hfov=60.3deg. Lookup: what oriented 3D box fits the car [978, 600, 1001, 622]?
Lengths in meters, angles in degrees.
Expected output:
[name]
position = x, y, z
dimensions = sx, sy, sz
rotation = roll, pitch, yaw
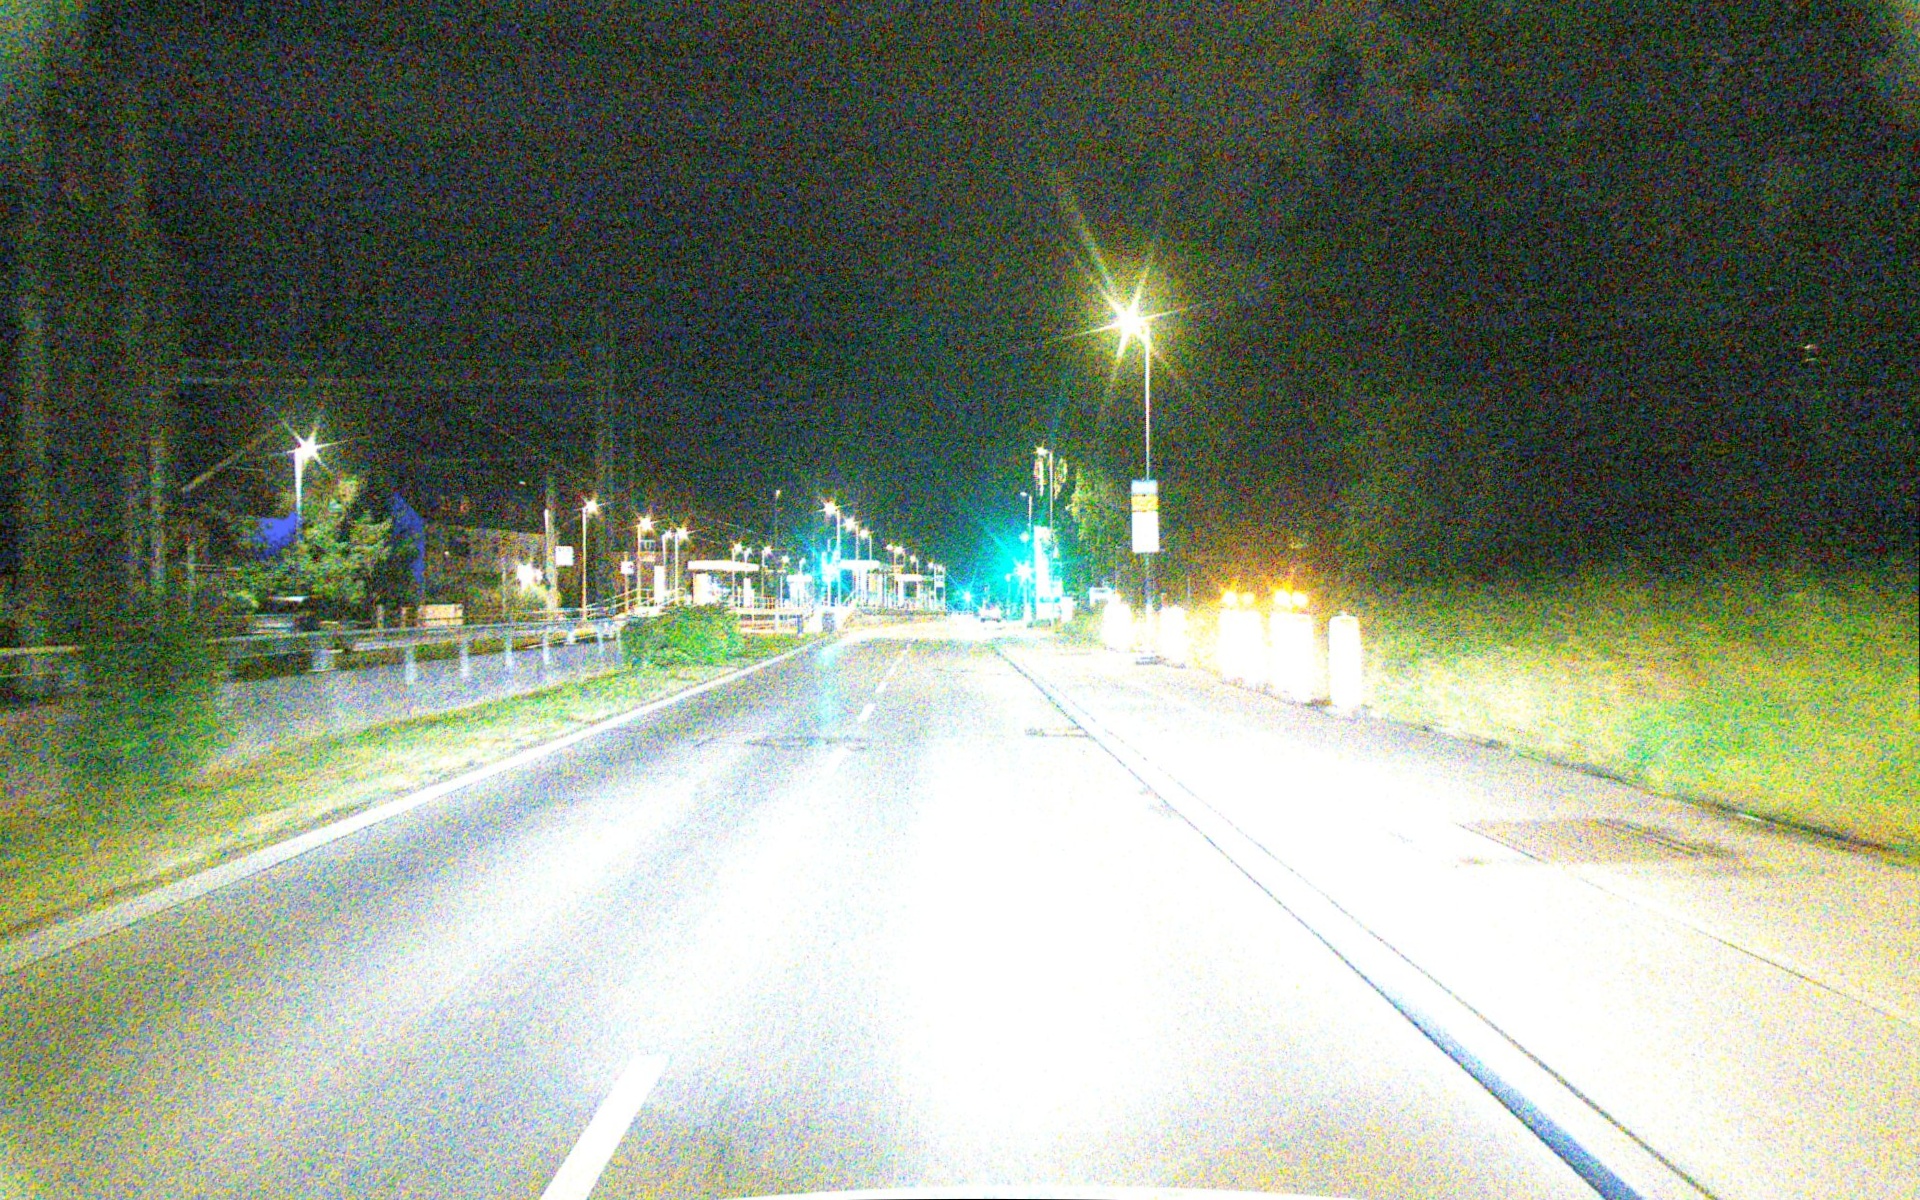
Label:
[car]
position = 2.717, 1.023, 154.355
dimensions = 2.044, 2.049, 4.000
rotation = -1, 0, 0
